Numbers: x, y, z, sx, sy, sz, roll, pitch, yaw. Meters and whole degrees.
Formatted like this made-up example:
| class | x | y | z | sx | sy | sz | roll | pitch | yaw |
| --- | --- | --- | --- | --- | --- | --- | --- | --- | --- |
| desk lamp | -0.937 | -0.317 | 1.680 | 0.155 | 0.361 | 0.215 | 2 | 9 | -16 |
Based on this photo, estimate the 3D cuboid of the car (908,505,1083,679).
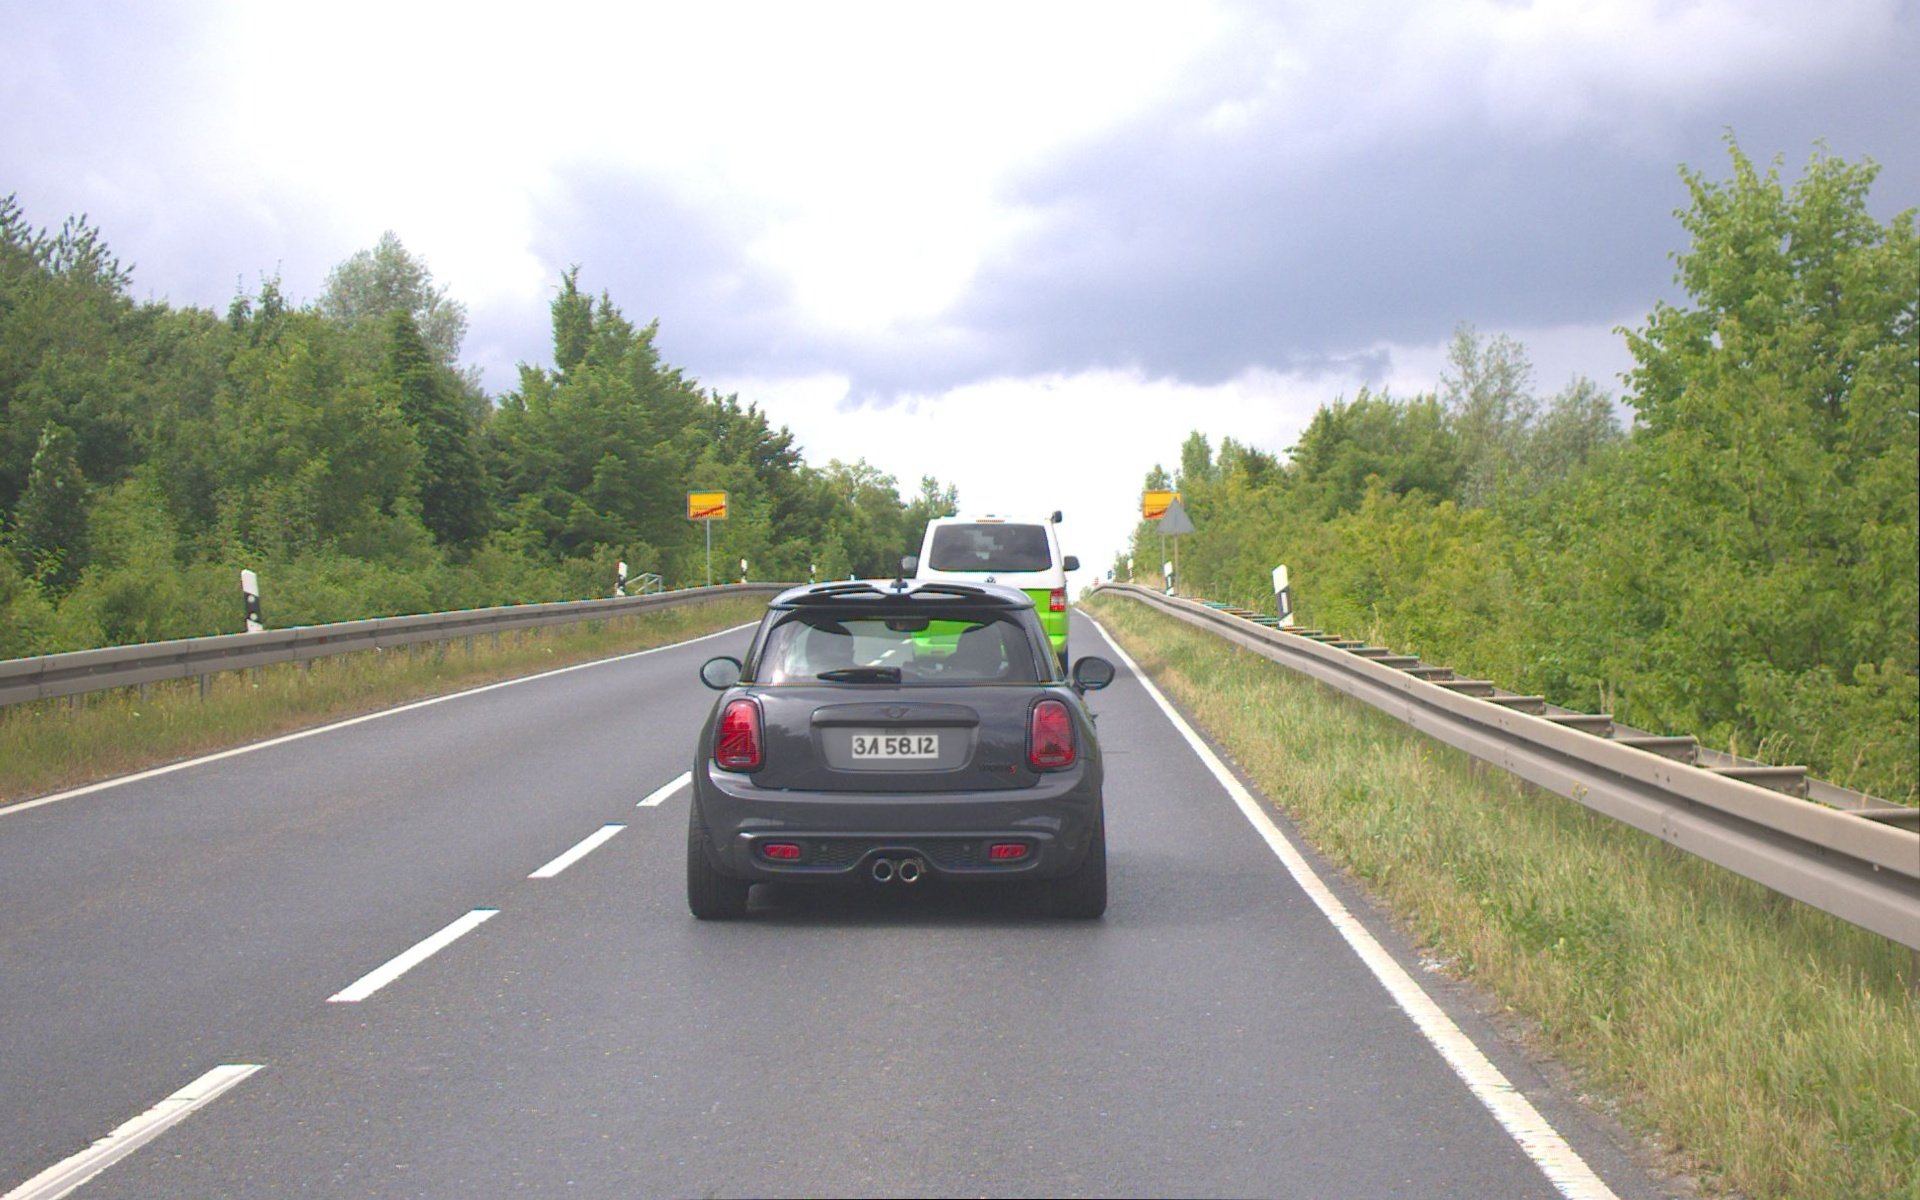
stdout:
| class | x | y | z | sx | sy | sz | roll | pitch | yaw |
| --- | --- | --- | --- | --- | --- | --- | --- | --- | --- |
| car | 0.488 | -0.127 | 42.223 | 2.022 | 2.006 | 4.000 | 1 | 1 | 2 |

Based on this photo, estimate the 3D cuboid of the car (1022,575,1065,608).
| class | x | y | z | sx | sy | sz | roll | pitch | yaw |
| --- | --- | --- | --- | --- | --- | --- | --- | --- | --- |
| car | 3.604 | -0.390 | 147.681 | 1.694 | 1.315 | 4.000 | -2 | 1 | 3 |

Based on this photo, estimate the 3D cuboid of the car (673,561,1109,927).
| class | x | y | z | sx | sy | sz | roll | pitch | yaw |
| --- | --- | --- | --- | --- | --- | --- | --- | --- | --- |
| car | -0.345 | 0.553 | 15.678 | 1.732 | 1.451 | 4.000 | 0 | 1 | -2 |
